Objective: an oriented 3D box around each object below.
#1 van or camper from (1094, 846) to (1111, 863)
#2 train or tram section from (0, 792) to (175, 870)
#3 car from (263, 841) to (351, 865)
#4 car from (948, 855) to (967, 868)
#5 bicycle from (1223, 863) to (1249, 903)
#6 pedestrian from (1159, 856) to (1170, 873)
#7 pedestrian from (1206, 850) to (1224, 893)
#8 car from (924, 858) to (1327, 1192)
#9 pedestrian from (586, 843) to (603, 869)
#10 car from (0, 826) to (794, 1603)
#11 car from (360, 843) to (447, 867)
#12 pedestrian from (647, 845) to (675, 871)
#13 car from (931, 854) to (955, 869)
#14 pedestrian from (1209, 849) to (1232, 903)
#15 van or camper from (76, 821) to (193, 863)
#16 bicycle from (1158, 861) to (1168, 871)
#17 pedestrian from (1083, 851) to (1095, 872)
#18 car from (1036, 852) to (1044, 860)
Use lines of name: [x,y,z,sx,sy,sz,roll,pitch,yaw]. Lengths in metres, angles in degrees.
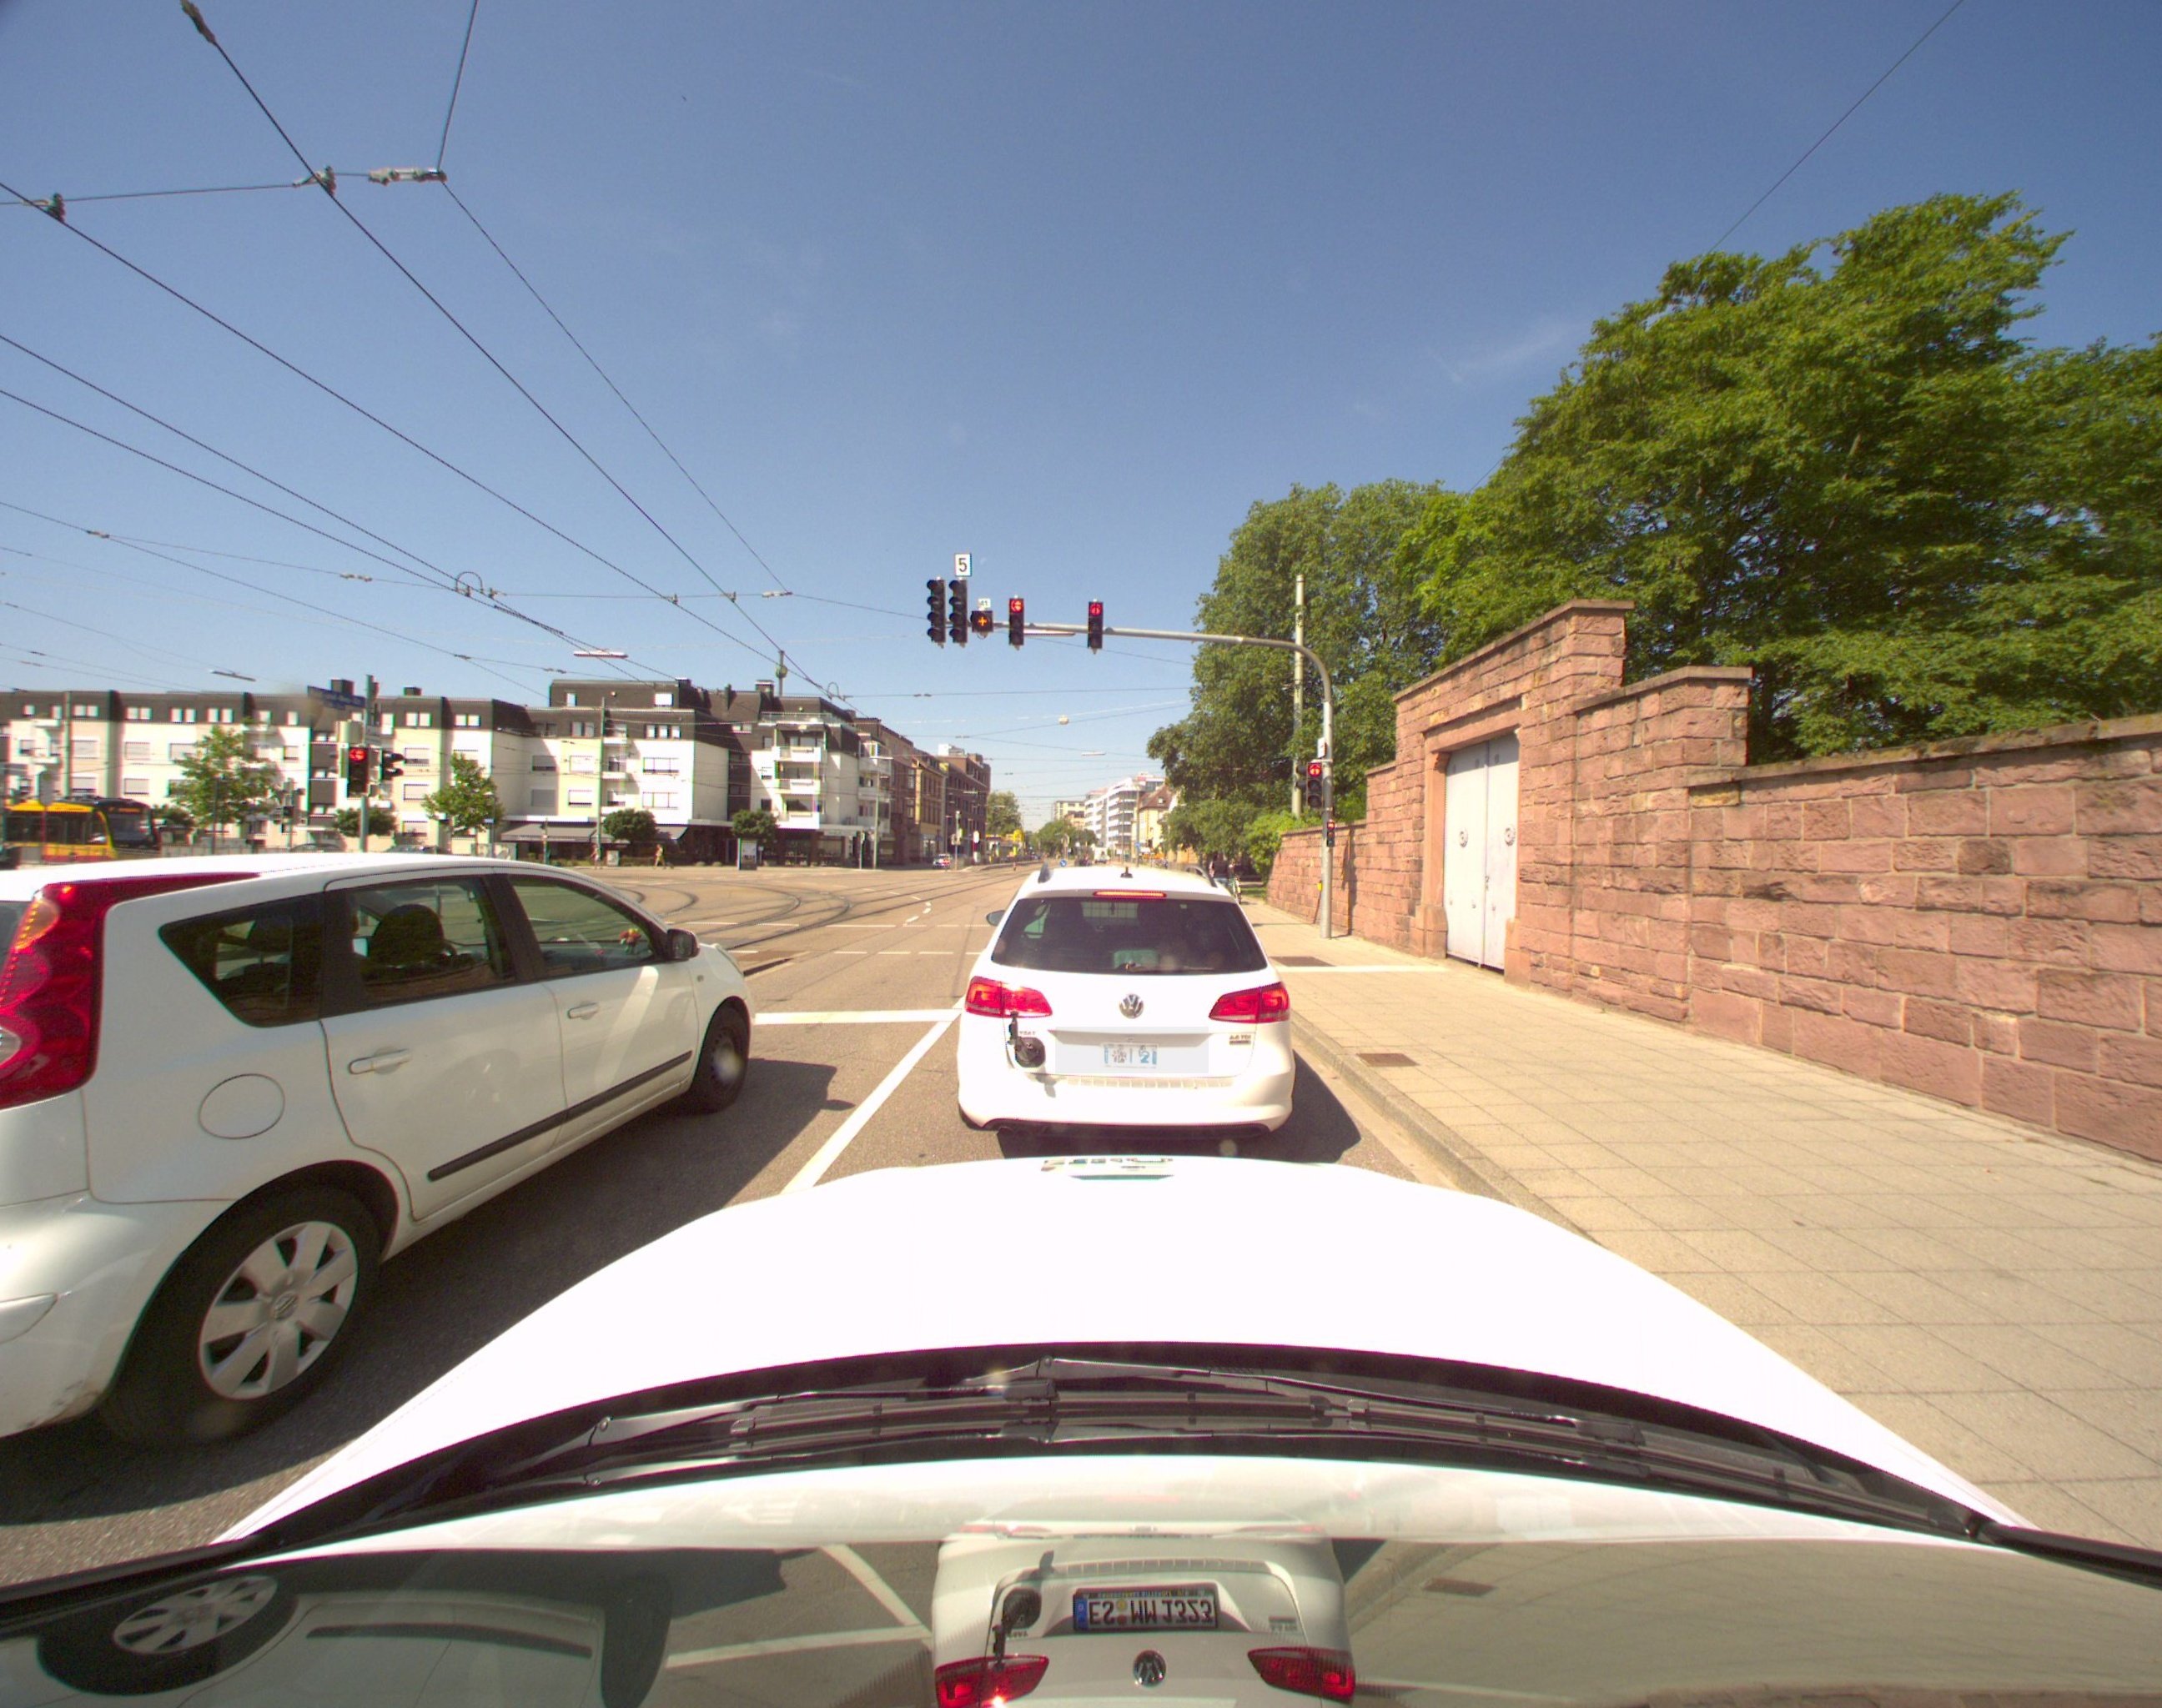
van or camper: [3.987,0.101,151.000,2.935,3.180,6.611,1,0,-1]
train or tram section: [-53.603,-1.173,40.591,13.814,3.658,2.769,1,0,1]
car: [-51.209,-0.087,53.929,3.973,1.500,1.828,1,0,0]
car: [-13.371,0.799,88.632,1.568,1.459,3.811,1,0,-2]
bicycle: [4.503,0.830,23.770,0.533,1.111,1.808,0,-1,4]
pedestrian: [7.719,0.987,75.377,0.848,1.510,0.786,1,0,23]
pedestrian: [5.299,0.692,32.152,0.646,1.682,0.709,1,0,7]
car: [0.260,0.757,5.497,1.746,1.418,3.854,1,0,2]
pedestrian: [-33.169,0.166,55.545,0.816,1.760,0.754,1,-1,-43]
car: [-2.960,0.733,3.687,1.759,1.561,4.068,0,0,2]
car: [-44.943,0.060,54.082,4.158,1.500,1.828,1,0,0]
pedestrian: [-29.977,0.298,58.130,1.109,1.836,1.448,0,0,42]
car: [-13.689,0.730,80.846,1.620,1.431,3.962,2,0,0]
pedestrian: [4.032,0.626,23.617,0.538,1.549,0.663,-1,0,1]
van or camper: [-62.660,-0.760,54.003,4.859,2.624,2.376,1,0,0]
bicycle: [9.119,1.325,90.342,0.720,1.139,2.203,1,0,14]
pedestrian: [0.700,0.677,70.941,0.824,1.809,0.833,1,0,18]
car: [-10.600,0.432,210.155,1.987,2.014,3.999,0,-1,0]
